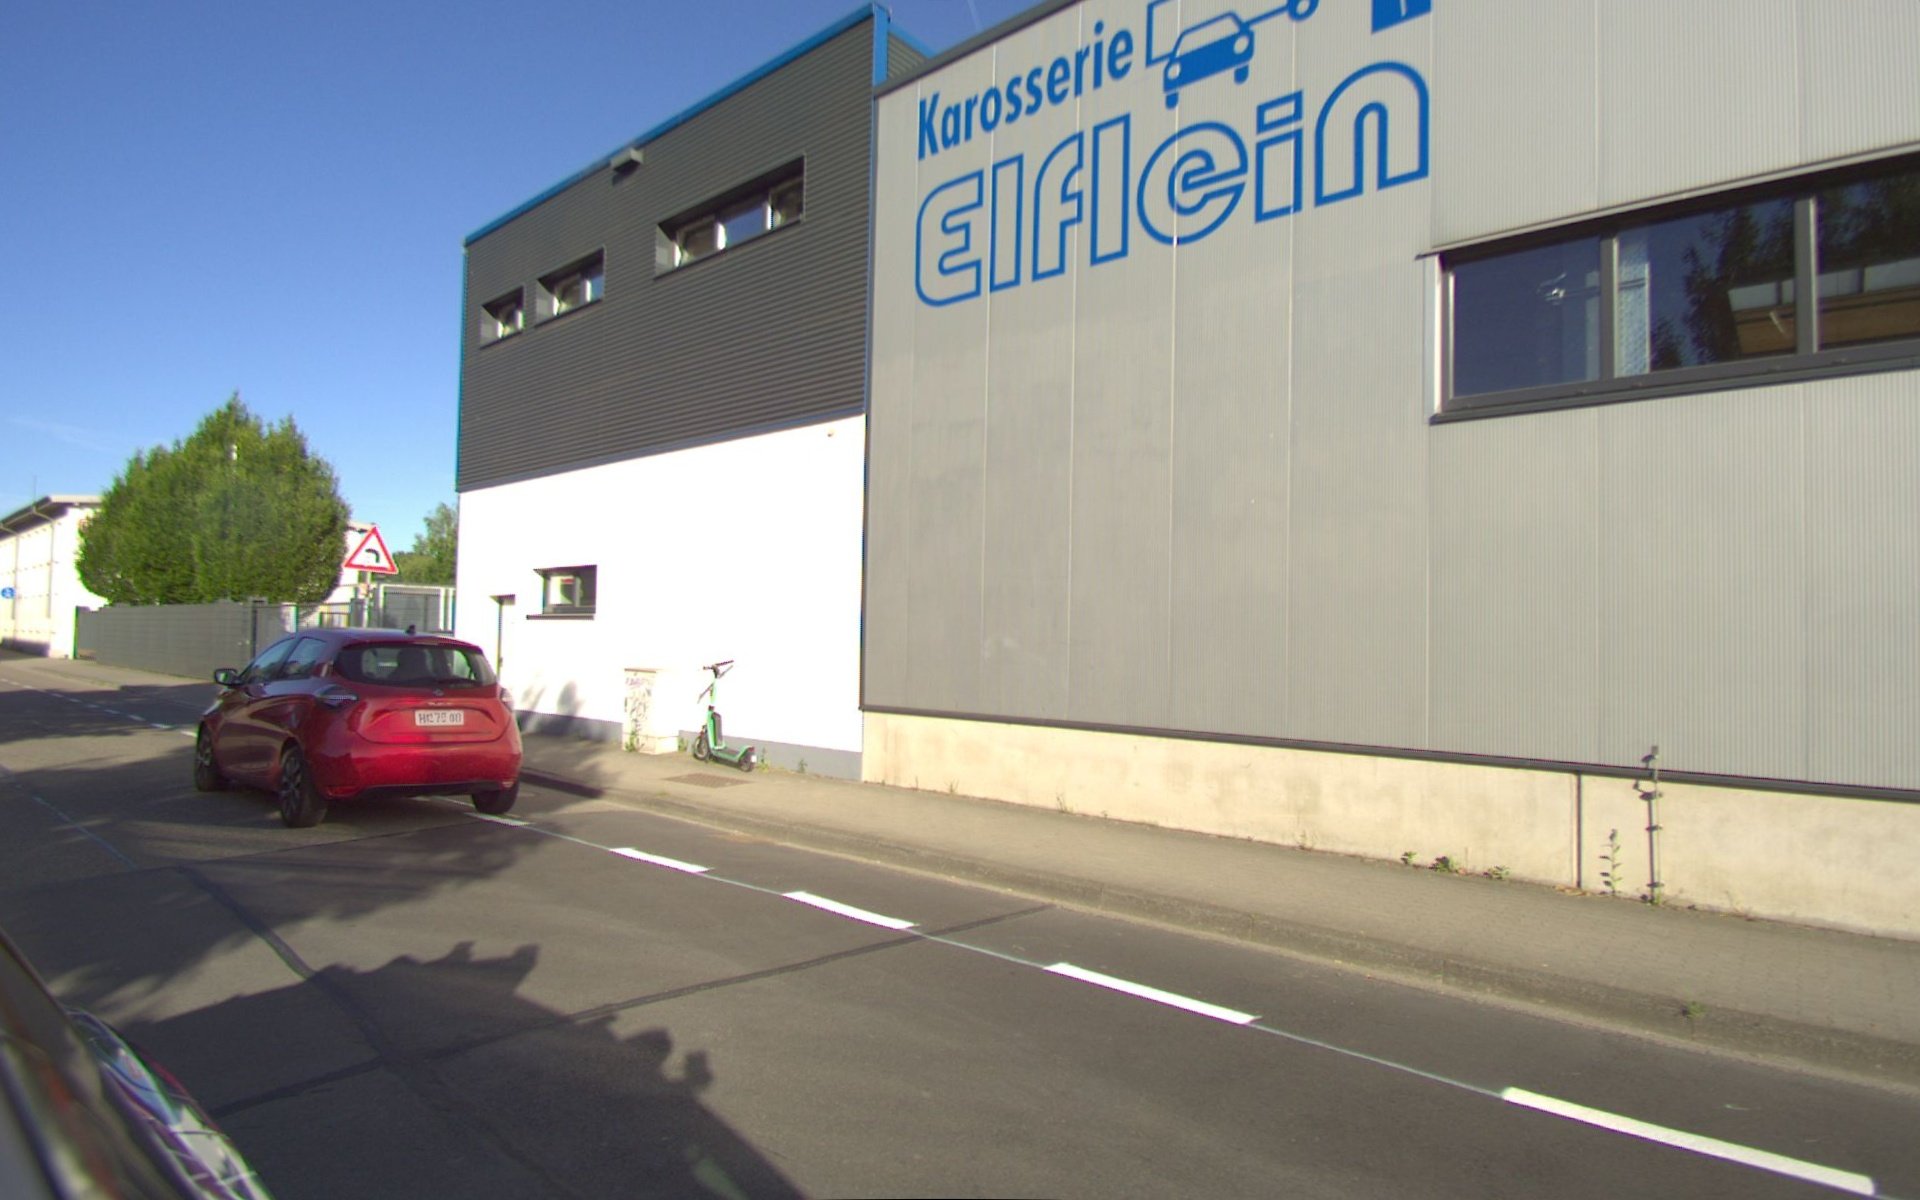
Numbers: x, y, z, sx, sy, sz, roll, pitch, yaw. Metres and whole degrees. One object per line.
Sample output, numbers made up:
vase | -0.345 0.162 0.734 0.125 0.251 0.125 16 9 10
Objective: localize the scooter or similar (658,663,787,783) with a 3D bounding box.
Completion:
scooter or similar | -2.733 1.357 11.521 1.752 1.212 0.501 -1 -1 41

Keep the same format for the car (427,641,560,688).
car | -16.944 2.380 36.898 1.874 1.552 3.945 -2 -6 41

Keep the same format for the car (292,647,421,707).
car | -17.285 2.185 28.934 3.996 1.552 1.851 -2 -6 39

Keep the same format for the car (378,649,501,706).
car | -16.128 2.383 31.294 3.996 1.618 1.851 -2 -6 39

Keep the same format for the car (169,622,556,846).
car | -5.466 1.036 9.051 4.073 1.551 1.702 -1 -6 41

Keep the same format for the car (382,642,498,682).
car | -22.241 2.679 43.348 1.874 1.552 3.945 -2 -6 41
